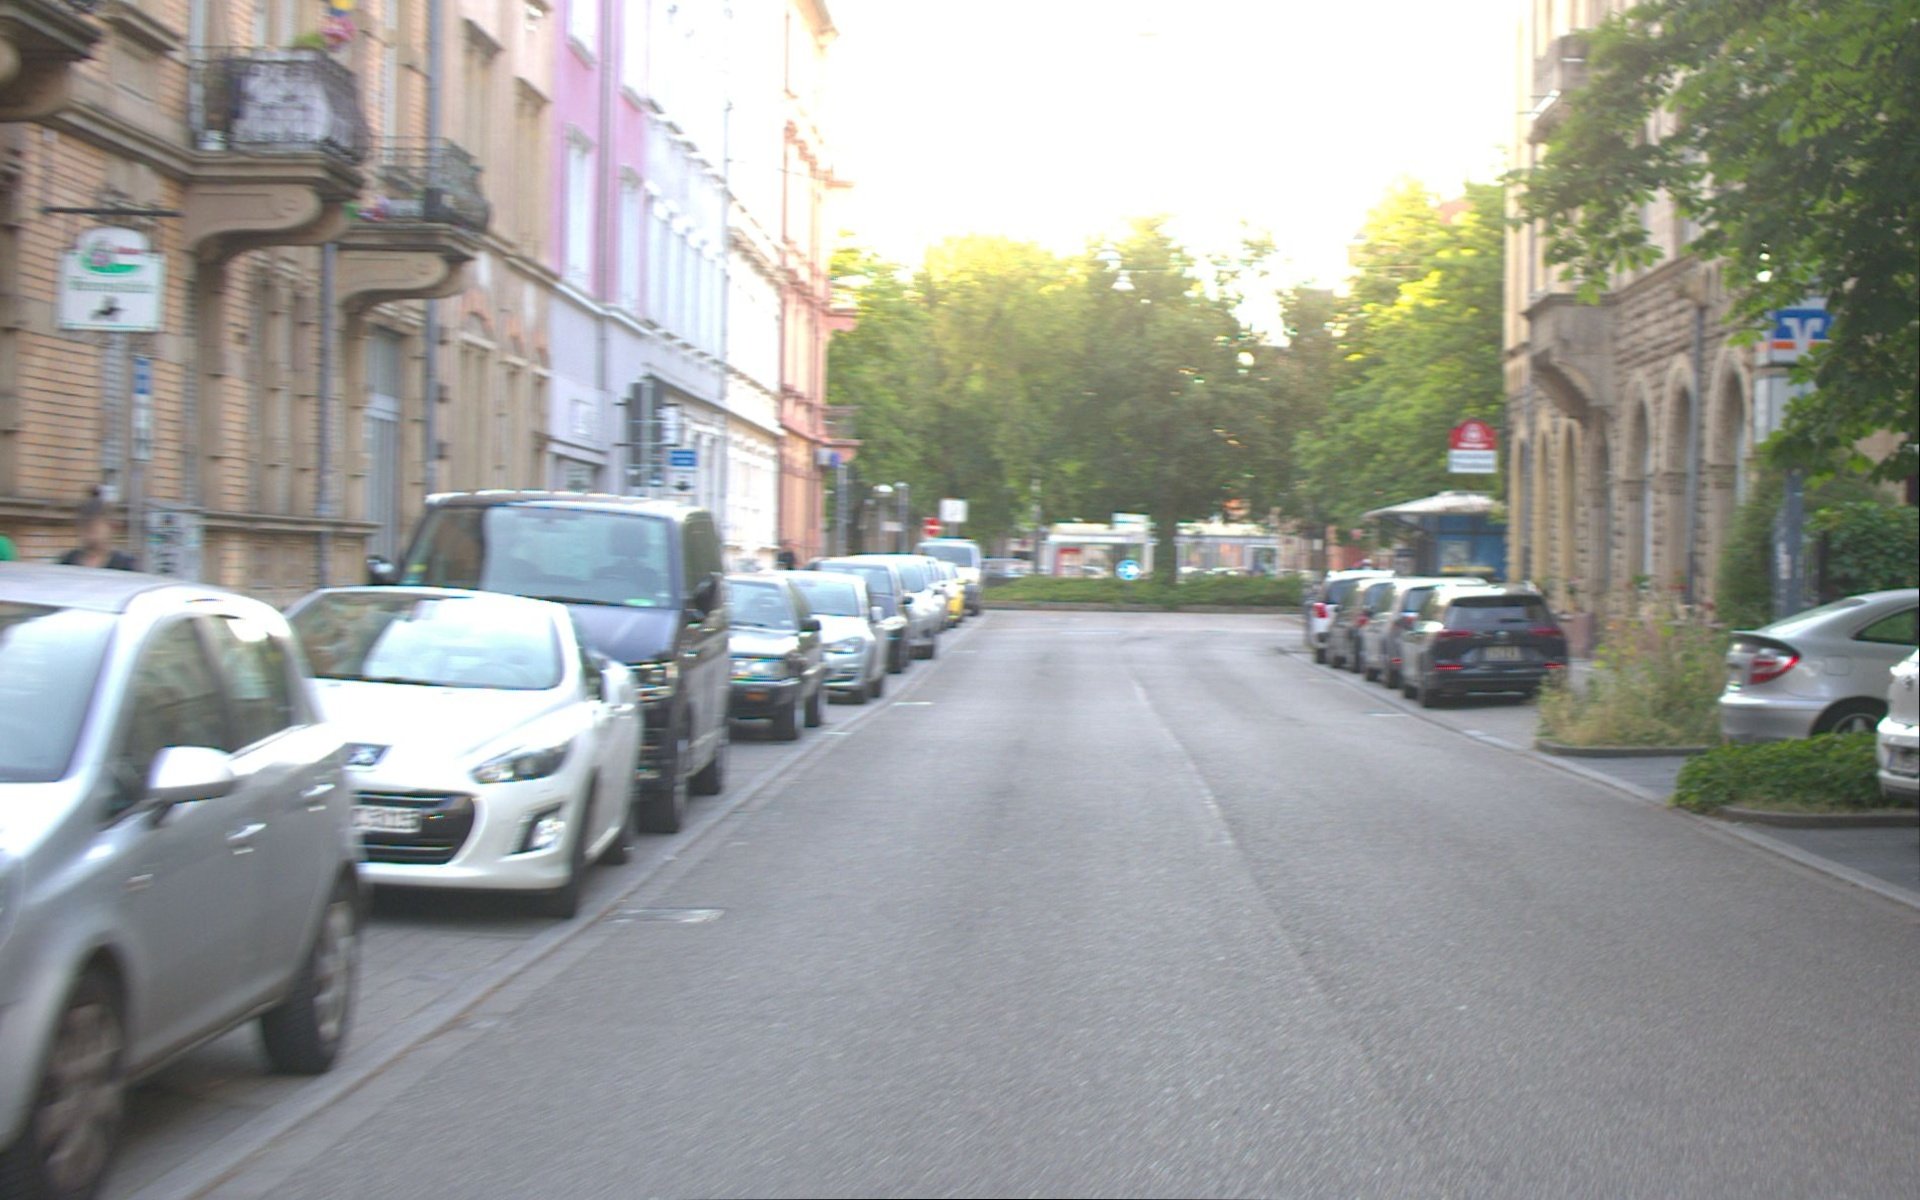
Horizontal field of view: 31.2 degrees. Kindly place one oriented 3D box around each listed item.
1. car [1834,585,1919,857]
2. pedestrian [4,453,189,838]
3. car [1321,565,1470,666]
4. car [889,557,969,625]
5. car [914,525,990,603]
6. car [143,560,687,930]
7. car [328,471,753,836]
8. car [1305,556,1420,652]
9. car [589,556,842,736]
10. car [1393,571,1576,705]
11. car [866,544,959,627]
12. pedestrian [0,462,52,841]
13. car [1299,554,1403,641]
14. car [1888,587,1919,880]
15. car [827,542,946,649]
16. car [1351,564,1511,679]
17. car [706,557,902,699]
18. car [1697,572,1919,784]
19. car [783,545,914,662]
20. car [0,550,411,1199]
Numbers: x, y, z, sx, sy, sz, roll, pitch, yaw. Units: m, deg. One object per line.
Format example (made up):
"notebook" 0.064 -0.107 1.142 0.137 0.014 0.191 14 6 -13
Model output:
"car" 7.061 0.605 19.304 3.793 1.447 1.736 -2 1 -2
"pedestrian" -4.124 0.204 16.457 0.605 1.766 0.777 4 1 -2
"car" 6.691 0.213 53.148 1.676 1.451 3.801 -2 1 -2
"car" -0.700 -0.231 78.075 1.698 1.421 4.022 3 1 0
"car" -0.231 -0.978 92.141 1.810 1.970 4.187 3 1 -2
"car" -2.420 0.571 16.378 1.784 1.418 4.485 3 1 0
"car" -2.469 0.261 21.481 1.993 1.917 4.951 3 1 0
"car" 6.760 0.043 57.992 1.676 1.496 3.900 -2 1 4
"car" -2.106 0.375 30.838 1.737 1.413 4.778 3 0 2
"car" 6.280 0.416 41.547 1.676 1.424 4.478 -3 1 3
"car" -0.965 -0.313 71.824 1.698 1.615 4.022 3 1 2
"pedestrian" -4.736 0.225 16.197 0.580 1.765 0.998 4 2 -2
"car" 7.246 -0.070 64.027 1.676 1.496 4.017 -2 1 4
"car" 6.770 0.652 16.756 3.987 1.451 1.828 -1 1 0
"car" -1.180 -0.099 56.037 1.844 1.653 4.253 1 1 -1
"car" 6.472 0.264 47.585 1.676 1.451 4.230 -2 1 1
"car" -1.762 0.289 40.011 1.834 1.453 4.206 4 1 2
"car" 7.661 0.520 25.378 4.087 1.447 1.882 -2 1 5
"car" -1.573 0.022 49.576 1.636 1.560 3.781 2 1 1
"car" -2.724 0.622 8.840 1.717 1.452 4.000 3 1 3
